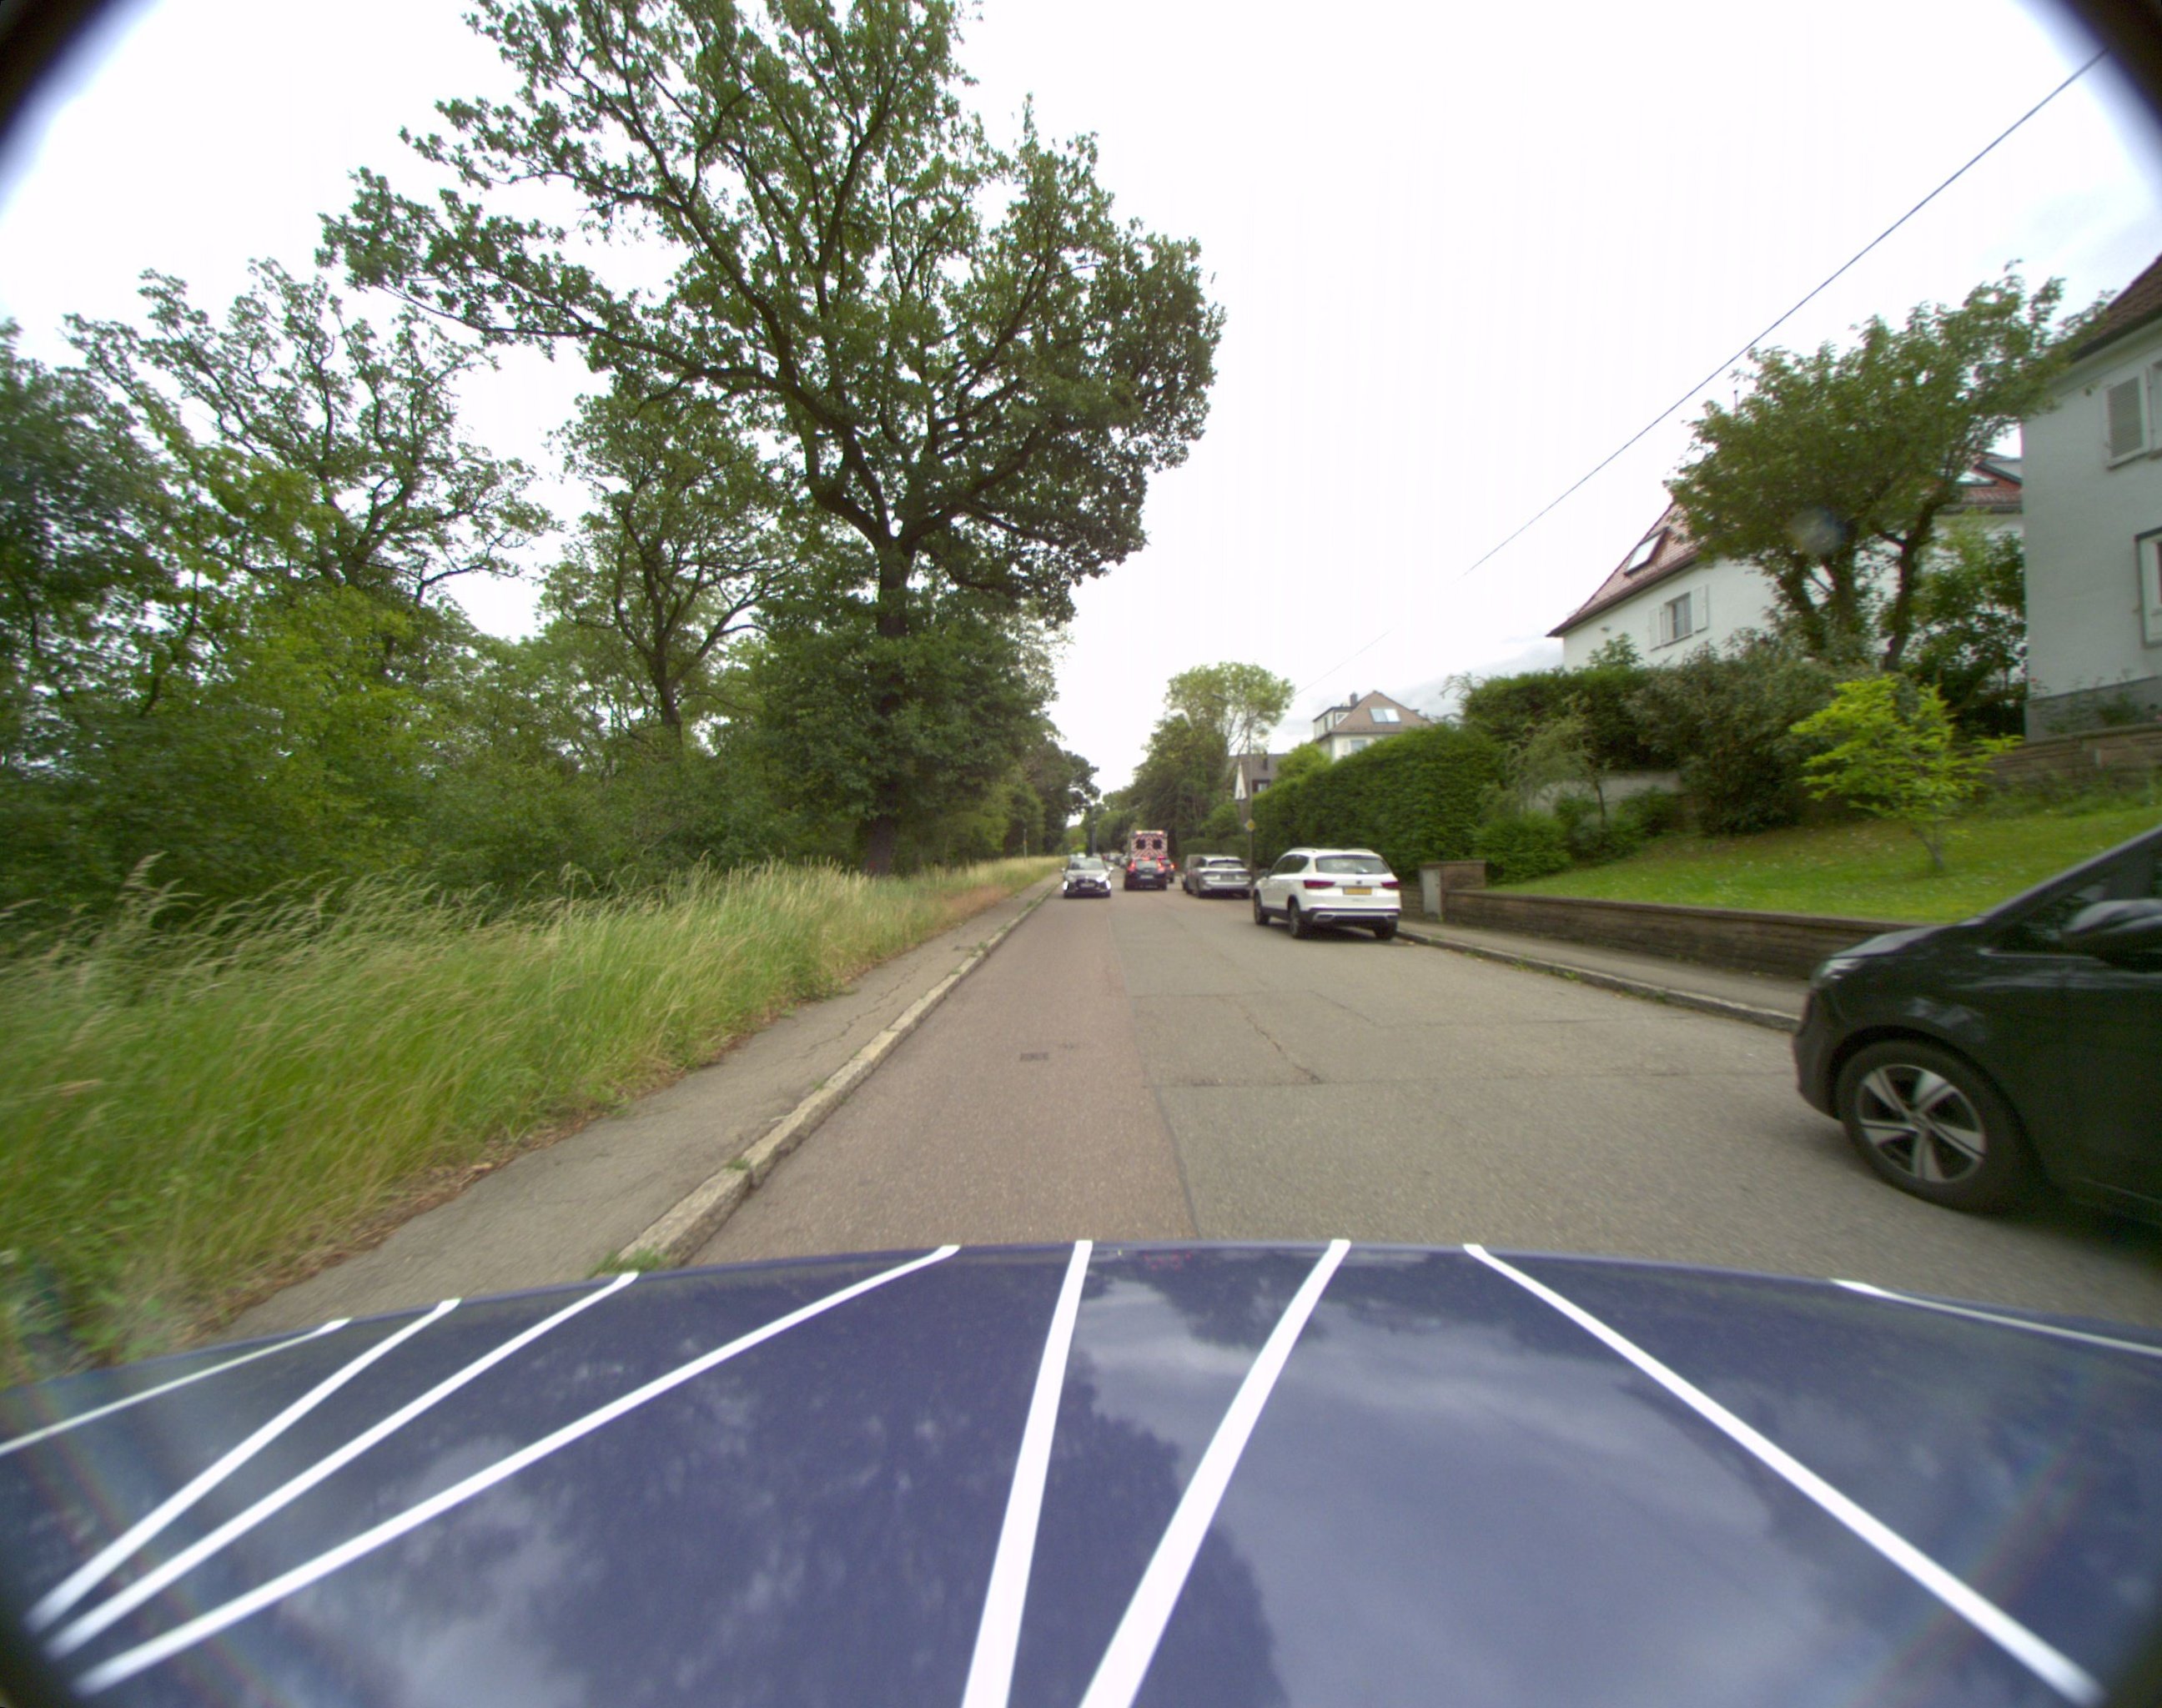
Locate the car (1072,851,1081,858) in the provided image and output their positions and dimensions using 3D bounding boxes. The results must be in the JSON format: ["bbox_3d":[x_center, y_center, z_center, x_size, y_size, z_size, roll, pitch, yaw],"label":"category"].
[{"bbox_3d":[-1.062,0.093,177.174,1.998,1.678,4.710,-2,0,0],"label":"car"}]

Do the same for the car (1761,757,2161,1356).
[{"bbox_3d":[4.360,0.620,1.286,1.868,1.915,5.037,-2,0,0],"label":"car"}]

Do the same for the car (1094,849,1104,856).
[{"bbox_3d":[4.036,-0.244,169.116,1.765,1.441,4.041,-2,0,-6],"label":"car"}]

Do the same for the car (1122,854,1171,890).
[{"bbox_3d":[2.789,0.734,33.038,1.768,1.438,4.473,0,0,0],"label":"car"}]

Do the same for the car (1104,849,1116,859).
[{"bbox_3d":[4.957,0.006,128.843,1.788,1.491,4.014,-2,0,-1],"label":"car"}]

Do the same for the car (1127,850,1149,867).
[{"bbox_3d":[5.295,0.400,70.978,1.724,1.496,4.008,1,1,1],"label":"car"}]

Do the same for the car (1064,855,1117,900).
[{"bbox_3d":[0.315,0.810,28.552,1.788,1.491,4.014,-2,0,-1],"label":"car"}]

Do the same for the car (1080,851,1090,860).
[{"bbox_3d":[0.796,0.279,156.617,1.999,1.678,4.709,-2,0,-2],"label":"car"}]

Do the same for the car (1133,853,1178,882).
[{"bbox_3d":[3.905,0.673,40.542,1.768,1.438,4.472,0,0,-2],"label":"car"}]

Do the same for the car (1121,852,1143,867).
[{"bbox_3d":[5.474,0.551,81.877,1.921,1.553,4.603,1,0,-2],"label":"car"}]

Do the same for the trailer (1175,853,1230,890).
[{"bbox_3d":[5.177,0.698,32.797,1.768,1.487,4.473,0,0,1],"label":"trailer"}]

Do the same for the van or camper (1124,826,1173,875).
[{"bbox_3d":[4.237,-0.227,49.062,2.462,2.878,7.167,0,1,0],"label":"van or camper"}]

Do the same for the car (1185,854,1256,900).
[{"bbox_3d":[4.936,0.750,27.429,1.768,1.490,4.473,1,0,0],"label":"car"}]

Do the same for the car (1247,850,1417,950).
[{"bbox_3d":[4.613,0.756,14.669,1.843,1.639,4.185,1,0,-1],"label":"car"}]

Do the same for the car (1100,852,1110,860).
[{"bbox_3d":[4.629,0.401,148.723,1.741,1.431,3.786,-2,0,-2],"label":"car"}]
